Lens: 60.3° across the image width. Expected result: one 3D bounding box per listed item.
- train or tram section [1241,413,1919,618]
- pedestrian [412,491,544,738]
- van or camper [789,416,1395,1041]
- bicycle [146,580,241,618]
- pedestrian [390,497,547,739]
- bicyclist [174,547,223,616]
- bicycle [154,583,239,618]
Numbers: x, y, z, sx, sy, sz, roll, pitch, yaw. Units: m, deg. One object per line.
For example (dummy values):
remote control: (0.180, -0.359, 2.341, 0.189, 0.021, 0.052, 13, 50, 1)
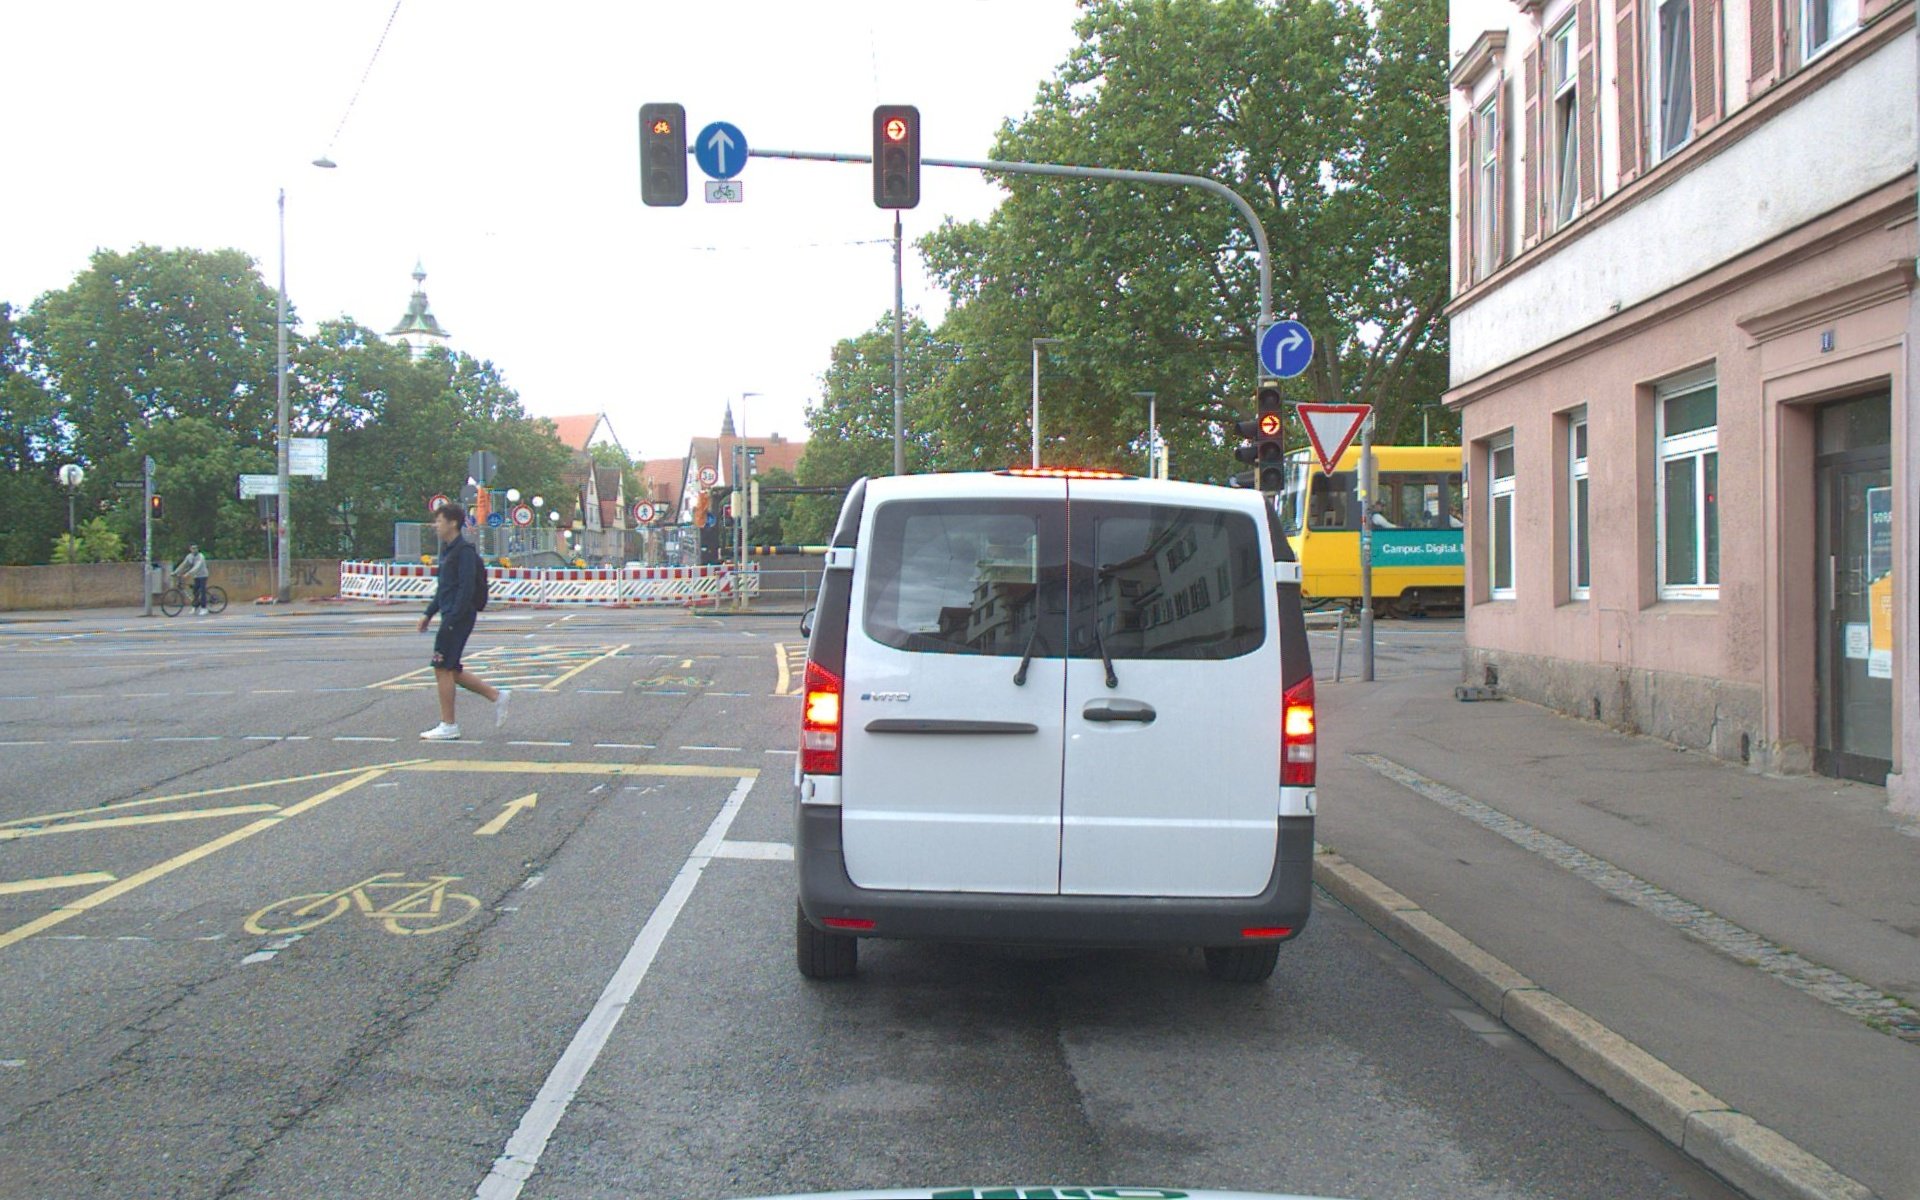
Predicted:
train or tram section: (15.700, -1.865, 35.712, 18.856, 4.072, 3.305, -1, 3, -7)
pedestrian: (-3.943, 0.118, 13.519, 0.988, 1.948, 0.622, 1, 0, -19)
van or camper: (0.313, 0.386, 7.460, 1.899, 1.958, 4.438, 1, 1, -3)
bicycle: (-19.740, -0.032, 42.624, 2.118, 0.907, 0.749, -1, 2, -41)
pedestrian: (-4.020, 0.126, 13.510, 1.133, 1.888, 0.675, -2, 1, -22)
bicyclist: (-19.655, -0.485, 42.692, 0.995, 1.774, 0.744, 0, 1, -40)
bicycle: (-19.679, -0.002, 42.648, 0.551, 0.881, 1.937, 0, 1, 45)
